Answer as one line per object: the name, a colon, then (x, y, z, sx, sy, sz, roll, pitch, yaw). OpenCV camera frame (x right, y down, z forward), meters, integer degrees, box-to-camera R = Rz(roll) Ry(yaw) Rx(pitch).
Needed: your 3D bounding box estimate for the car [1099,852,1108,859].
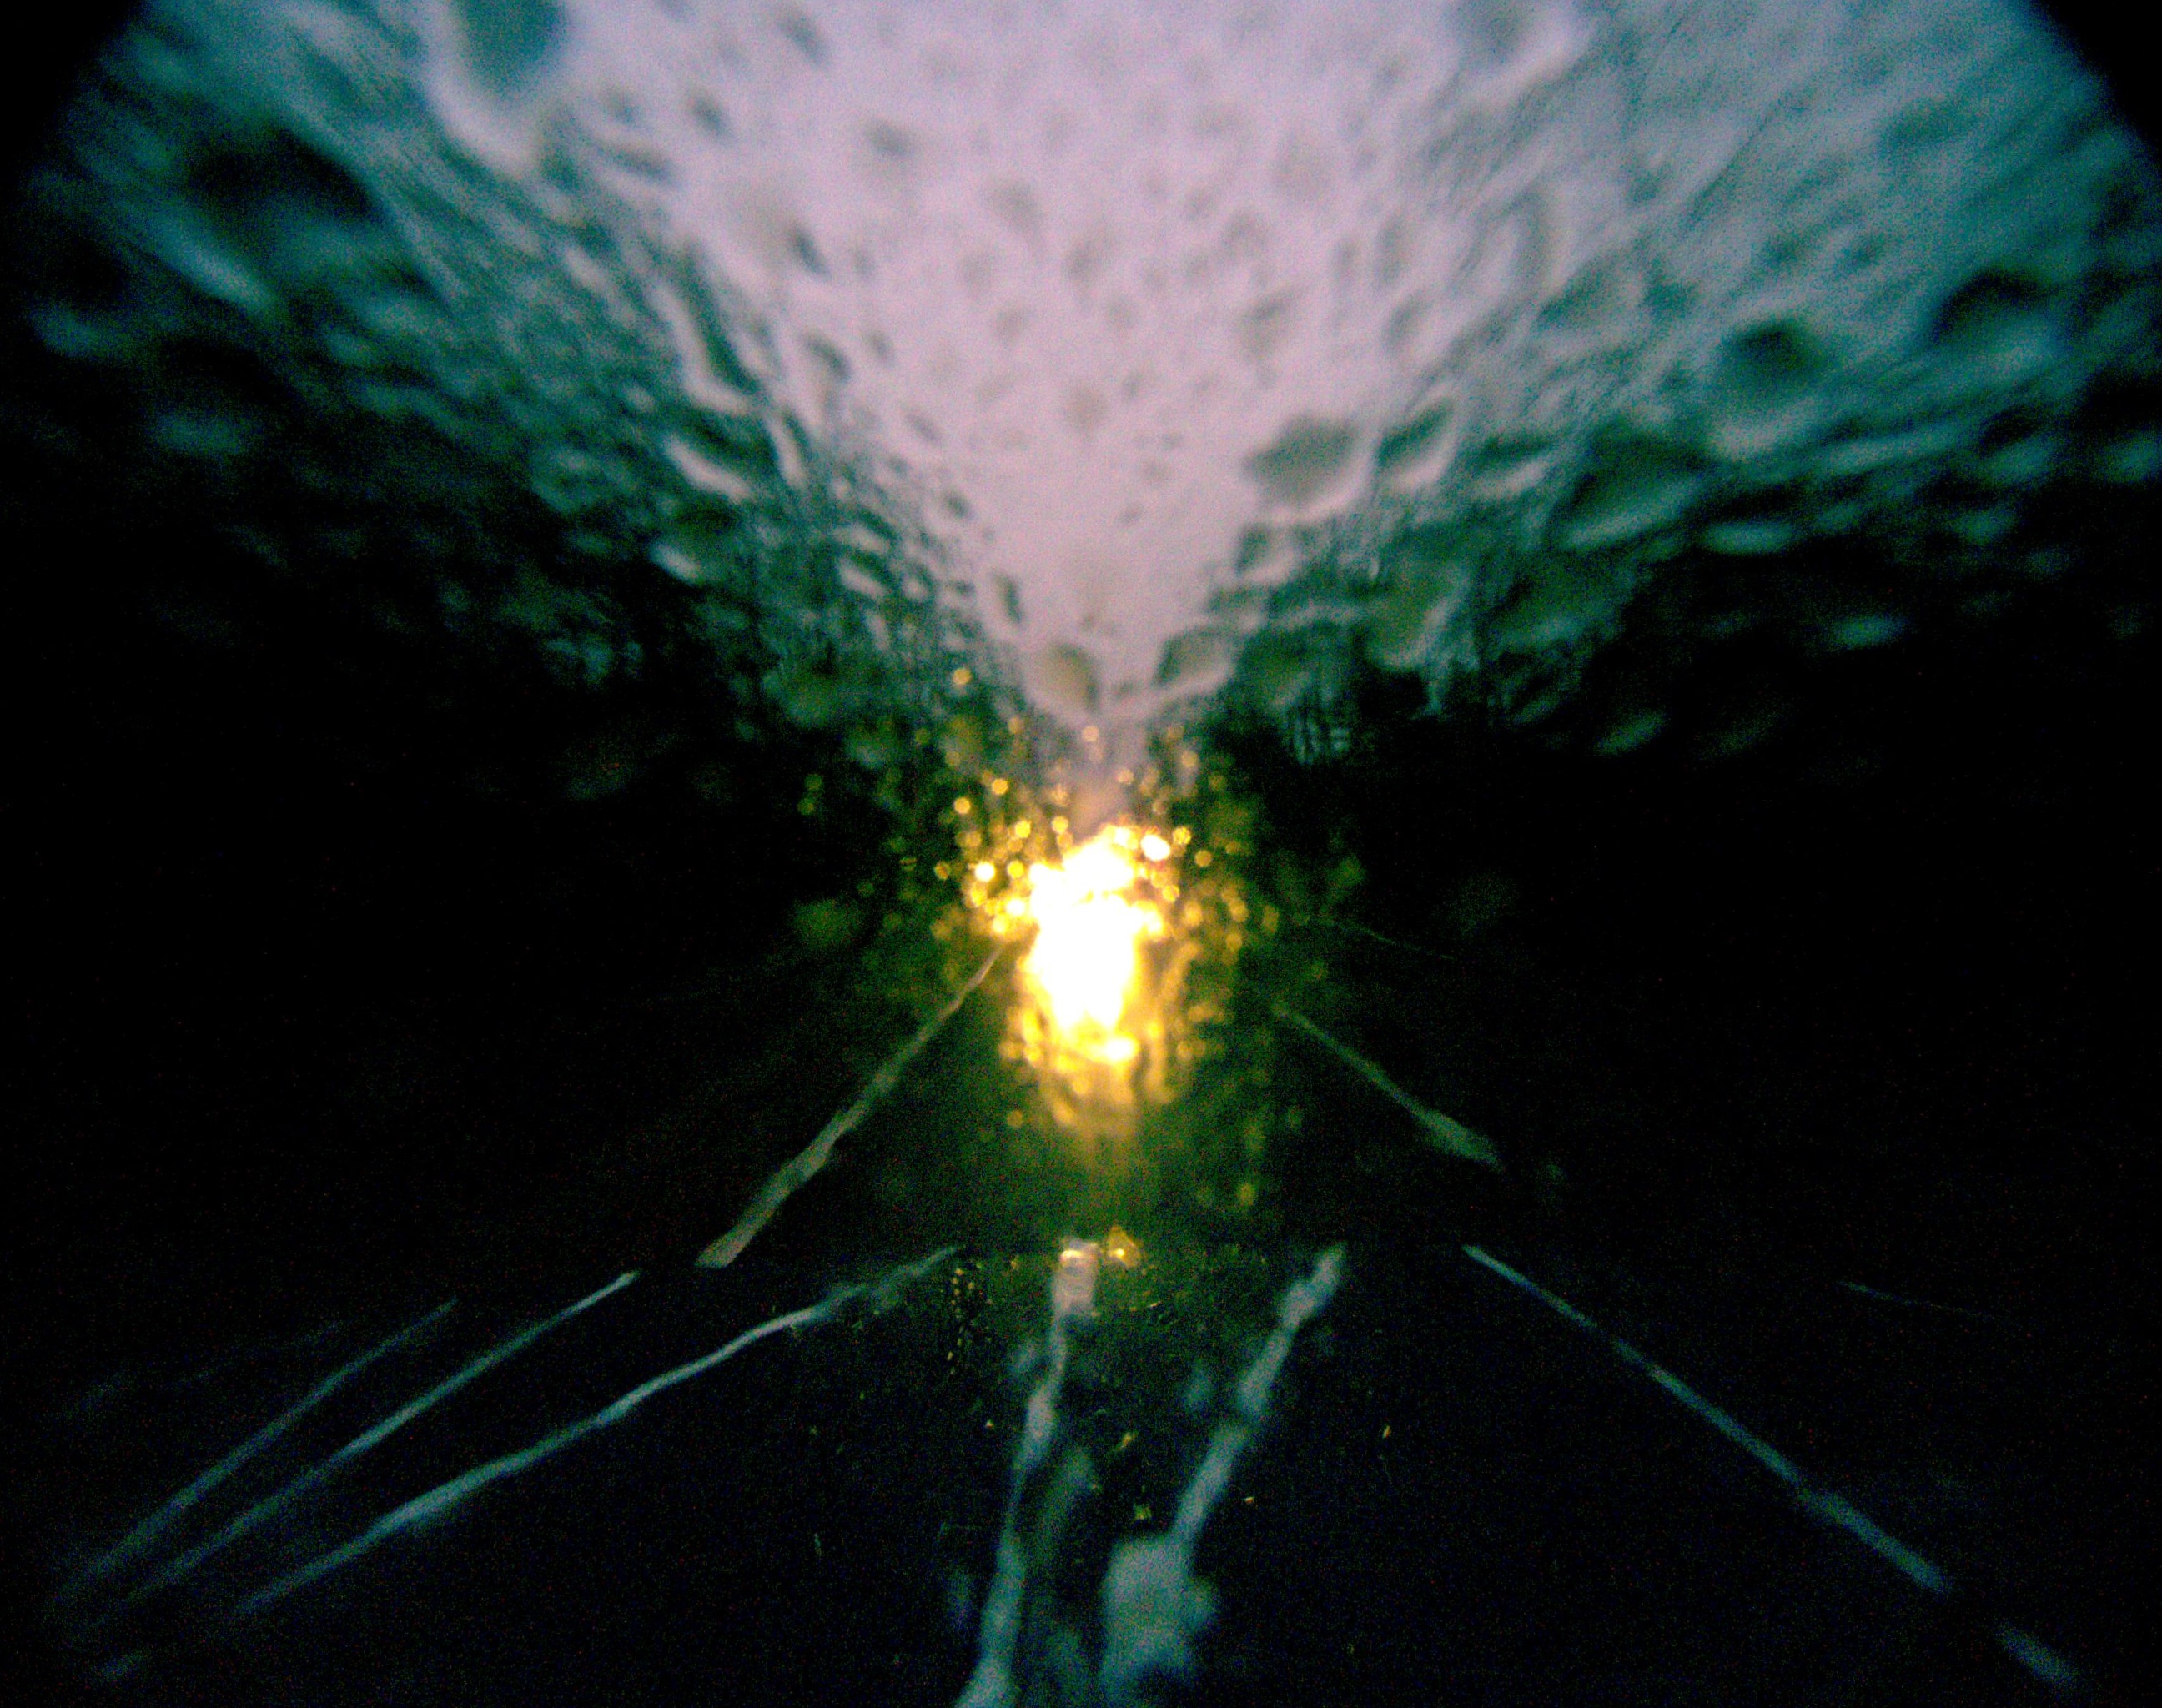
car: (5.560, 0.255, 184.619, 2.080, 1.607, 4.152, -1, 1, 2)

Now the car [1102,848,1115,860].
car: (4.816, -0.021, 134.194, 2.012, 1.977, 5.031, 1, 0, 0)

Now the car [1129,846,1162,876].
car: (4.167, 0.438, 49.366, 1.801, 1.870, 4.425, 0, 0, 1)

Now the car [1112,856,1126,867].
car: (5.013, 0.971, 100.378, 1.758, 1.449, 3.637, 1, 0, 1)

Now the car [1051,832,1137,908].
car: (0.464, 0.474, 26.292, 2.542, 2.213, 6.169, -2, 0, 1)
